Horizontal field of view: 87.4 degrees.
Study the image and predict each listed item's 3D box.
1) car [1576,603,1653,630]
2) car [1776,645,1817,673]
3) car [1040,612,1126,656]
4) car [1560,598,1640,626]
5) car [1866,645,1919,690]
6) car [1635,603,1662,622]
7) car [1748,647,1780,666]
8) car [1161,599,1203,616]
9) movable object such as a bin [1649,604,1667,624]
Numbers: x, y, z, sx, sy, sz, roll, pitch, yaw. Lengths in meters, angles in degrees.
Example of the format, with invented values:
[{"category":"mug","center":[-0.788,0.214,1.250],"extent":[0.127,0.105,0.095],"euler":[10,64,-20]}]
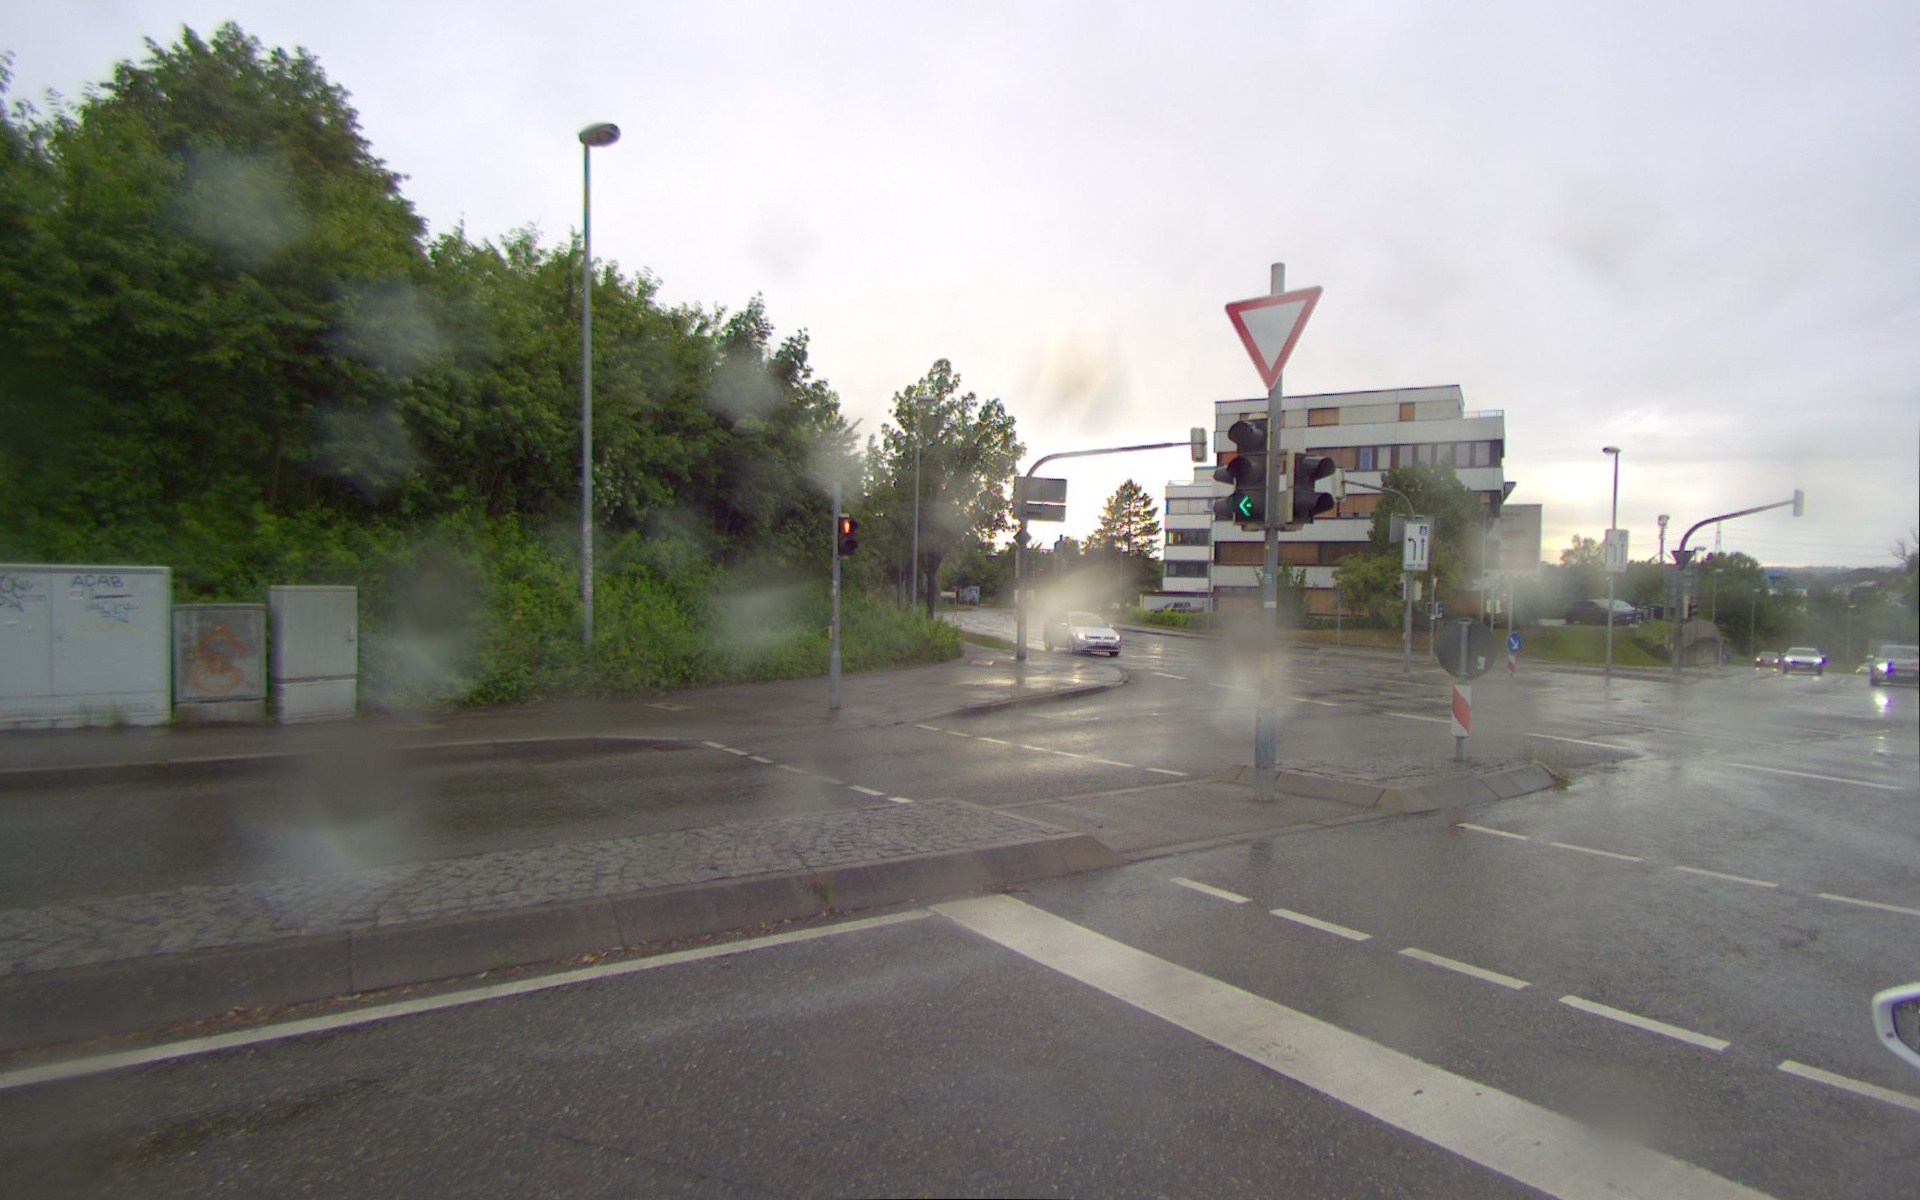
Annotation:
[{"category":"car","center":[43.595,1.093,67.009],"extent":[1.872,1.607,3.985],"euler":[4,-1,-17]},{"category":"car","center":[50.190,3.511,60.216],"extent":[1.701,1.514,3.979],"euler":[2,-1,42]},{"category":"car","center":[4.347,1.179,36.216],"extent":[1.731,1.381,4.523],"euler":[2,0,-11]},{"category":"car","center":[41.646,0.759,65.449],"extent":[1.874,1.607,3.980],"euler":[4,-1,-21]},{"category":"car","center":[34.594,2.455,37.068],"extent":[1.643,1.514,3.979],"euler":[2,-1,42]},{"category":"car","center":[60.489,1.098,88.279],"extent":[1.802,1.461,3.990],"euler":[4,-1,33]},{"category":"car","center":[72.663,5.054,90.781],"extent":[1.872,1.475,3.988],"euler":[2,0,34]},{"category":"car","center":[21.229,0.715,95.956],"extent":[3.685,1.418,2.000],"euler":[2,0,19]},{"category":"movable object such as a bin","center":[54.914,1.089,79.049],"extent":[1.069,1.455,1.443],"euler":[4,-1,33]}]
